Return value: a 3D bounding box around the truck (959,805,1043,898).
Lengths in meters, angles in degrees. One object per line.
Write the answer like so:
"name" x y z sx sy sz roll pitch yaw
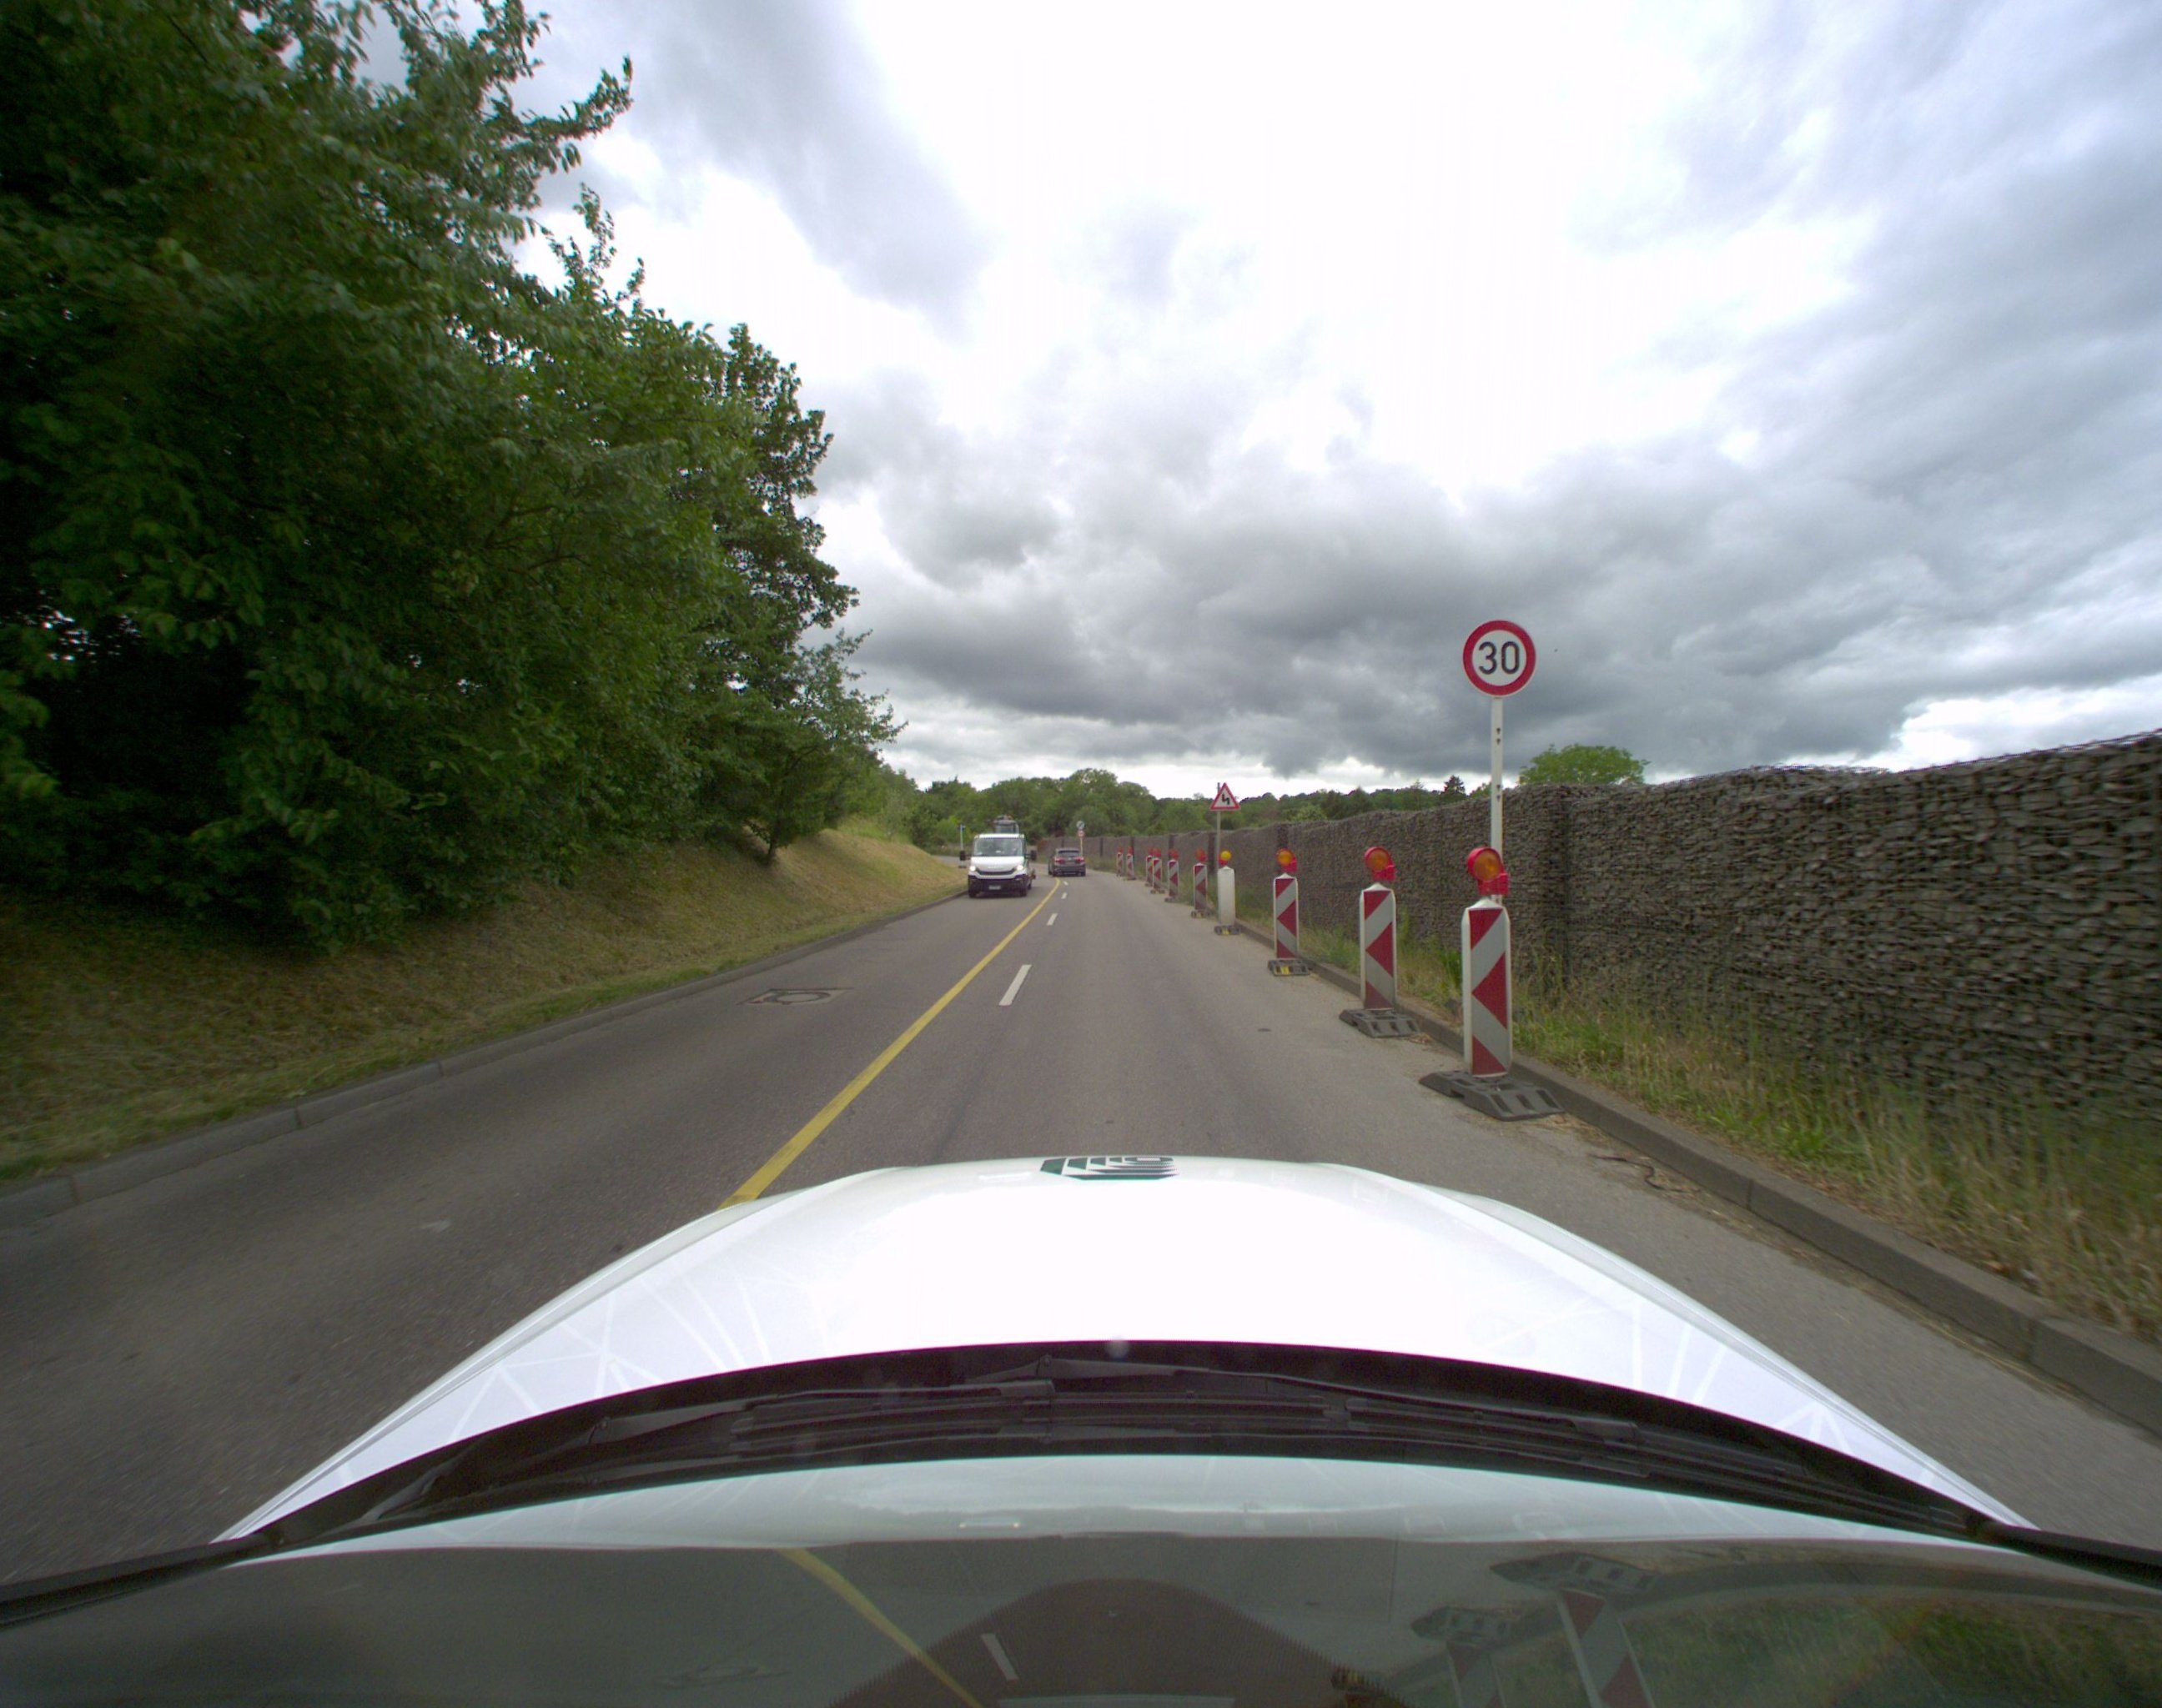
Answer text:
"truck" -2.812 -0.114 30.732 2.207 3.014 7.741 -1 0 1

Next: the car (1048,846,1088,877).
"car" -0.757 0.368 44.502 1.837 1.483 3.993 -2 1 -5
